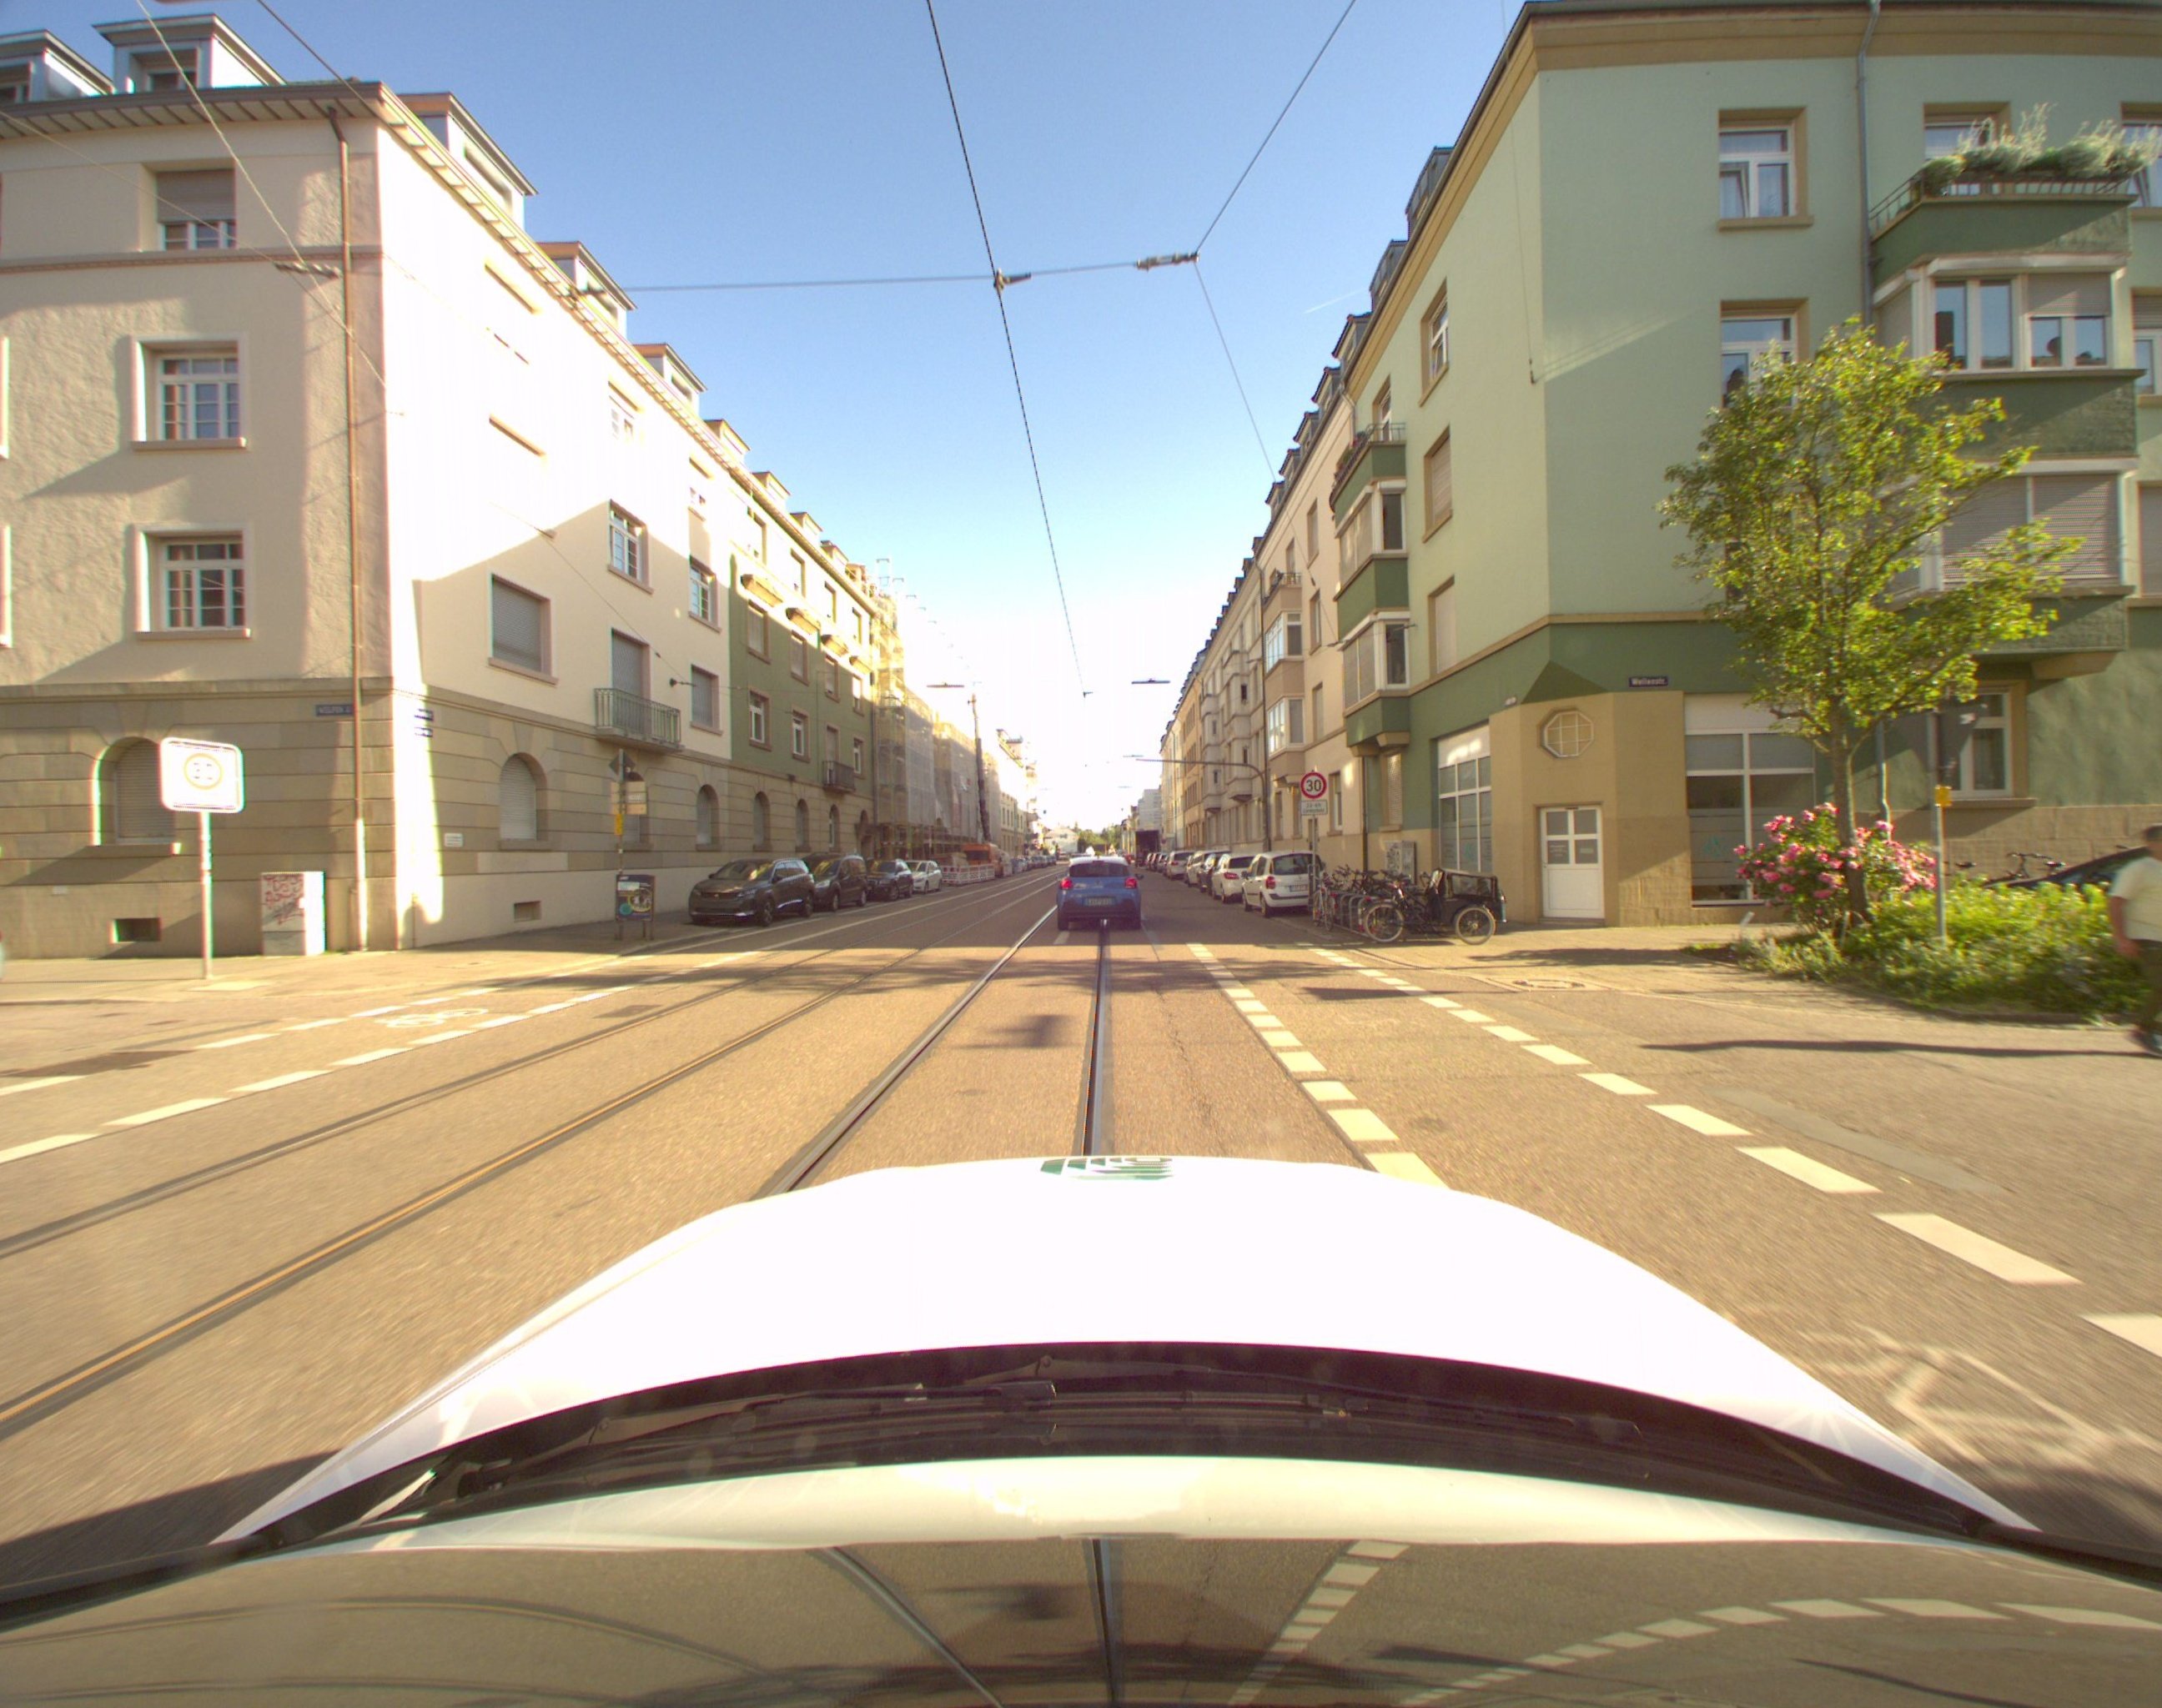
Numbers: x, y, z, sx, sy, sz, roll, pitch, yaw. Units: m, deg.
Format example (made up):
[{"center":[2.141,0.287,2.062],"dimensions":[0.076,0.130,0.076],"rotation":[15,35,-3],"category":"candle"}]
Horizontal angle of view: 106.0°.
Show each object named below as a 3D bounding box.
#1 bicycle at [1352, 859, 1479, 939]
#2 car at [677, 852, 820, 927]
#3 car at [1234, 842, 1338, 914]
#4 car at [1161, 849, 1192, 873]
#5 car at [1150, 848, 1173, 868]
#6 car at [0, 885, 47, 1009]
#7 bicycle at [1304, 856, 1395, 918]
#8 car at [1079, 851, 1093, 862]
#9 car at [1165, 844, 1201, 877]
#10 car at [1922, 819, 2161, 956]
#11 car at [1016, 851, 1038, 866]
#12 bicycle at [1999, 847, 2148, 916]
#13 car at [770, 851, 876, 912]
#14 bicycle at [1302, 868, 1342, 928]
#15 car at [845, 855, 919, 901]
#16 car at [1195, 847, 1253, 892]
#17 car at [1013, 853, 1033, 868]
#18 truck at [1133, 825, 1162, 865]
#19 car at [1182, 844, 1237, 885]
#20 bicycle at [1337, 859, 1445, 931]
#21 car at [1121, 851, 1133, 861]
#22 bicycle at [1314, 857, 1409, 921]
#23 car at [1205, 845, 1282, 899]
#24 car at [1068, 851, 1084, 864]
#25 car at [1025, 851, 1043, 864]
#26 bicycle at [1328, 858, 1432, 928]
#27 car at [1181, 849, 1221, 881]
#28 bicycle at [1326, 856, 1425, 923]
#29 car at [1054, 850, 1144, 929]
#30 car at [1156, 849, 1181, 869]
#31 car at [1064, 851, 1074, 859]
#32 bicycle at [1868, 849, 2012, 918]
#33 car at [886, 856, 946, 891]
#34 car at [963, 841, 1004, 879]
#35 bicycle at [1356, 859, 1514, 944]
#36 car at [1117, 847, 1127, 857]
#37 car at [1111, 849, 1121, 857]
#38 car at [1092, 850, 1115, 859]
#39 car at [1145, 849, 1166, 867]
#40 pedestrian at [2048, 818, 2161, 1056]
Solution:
[{"center":[5.593,0.749,13.662],"dimensions":[1.835,1.154,0.469],"rotation":[-5,0,2],"category":"bicycle"},{"center":[-8.444,0.816,21.179],"dimensions":[1.777,1.690,4.667],"rotation":[0,0,0],"category":"car"},{"center":[5.130,0.544,20.888],"dimensions":[1.776,1.632,4.002],"rotation":[-2,0,2],"category":"car"},{"center":[6.473,0.449,55.455],"dimensions":[1.715,1.486,4.224],"rotation":[-2,0,2],"category":"car"},{"center":[6.917,0.335,70.018],"dimensions":[1.657,1.647,4.224],"rotation":[-2,0,2],"category":"car"},{"center":[-15.137,1.199,9.346],"dimensions":[4.202,1.464,1.783],"rotation":[-2,2,1],"category":"car"},{"center":[5.715,0.688,17.375],"dimensions":[1.716,1.154,0.469],"rotation":[-5,0,2],"category":"bicycle"},{"center":[0.763,0.357,122.877],"dimensions":[1.894,1.631,4.269],"rotation":[-2,0,2],"category":"car"},{"center":[6.176,0.365,49.729],"dimensions":[1.724,1.827,4.689],"rotation":[-2,0,2],"category":"car"},{"center":[13.231,0.364,9.781],"dimensions":[1.644,1.579,4.043],"rotation":[-2,0,-25],"category":"car"},{"center":[-6.380,0.502,96.798],"dimensions":[2.136,1.621,4.001],"rotation":[-2,0,1],"category":"car"},{"center":[16.120,0.436,13.239],"dimensions":[1.889,1.063,0.455],"rotation":[-1,0,-1],"category":"bicycle"},{"center":[-8.275,0.810,26.593],"dimensions":[1.776,1.816,4.531],"rotation":[0,0,3],"category":"car"},{"center":[4.698,0.830,15.951],"dimensions":[0.351,1.044,1.730],"rotation":[-1,0,4],"category":"bicycle"},{"center":[-7.824,0.887,32.476],"dimensions":[1.777,1.627,4.608],"rotation":[0,0,0],"category":"car"},{"center":[5.525,0.552,31.894],"dimensions":[1.648,1.566,4.341],"rotation":[-2,0,2],"category":"car"},{"center":[-6.325,0.689,88.810],"dimensions":[1.707,1.594,4.269],"rotation":[-2,0,2],"category":"car"},{"center":[7.376,-0.979,91.745],"dimensions":[2.841,4.083,11.280],"rotation":[-2,0,3],"category":"truck"},{"center":[5.862,0.442,37.657],"dimensions":[1.651,1.752,4.599],"rotation":[-2,0,-2],"category":"car"},{"center":[5.654,0.745,14.899],"dimensions":[1.716,1.154,0.469],"rotation":[-5,0,2],"category":"bicycle"},{"center":[7.068,0.236,125.100],"dimensions":[1.758,1.486,4.034],"rotation":[-2,0,2],"category":"car"},{"center":[5.759,0.711,16.747],"dimensions":[1.716,1.154,0.469],"rotation":[-5,0,2],"category":"bicycle"},{"center":[5.221,0.529,26.611],"dimensions":[1.776,1.576,4.329],"rotation":[-2,0,2],"category":"car"},{"center":[-0.604,0.456,104.105],"dimensions":[1.819,1.631,4.493],"rotation":[-2,0,2],"category":"car"},{"center":[-5.880,0.420,102.647],"dimensions":[1.819,1.631,4.851],"rotation":[-2,0,2],"category":"car"},{"center":[5.656,0.728,15.447],"dimensions":[1.716,1.154,0.469],"rotation":[-5,0,2],"category":"bicycle"},{"center":[6.139,0.529,42.031],"dimensions":[1.608,1.560,3.602],"rotation":[-2,0,2],"category":"car"},{"center":[5.819,0.698,16.123],"dimensions":[1.716,1.154,0.469],"rotation":[-5,0,2],"category":"bicycle"},{"center":[0.421,0.671,17.771],"dimensions":[1.728,1.507,3.995],"rotation":[0,0,2],"category":"car"},{"center":[6.979,0.371,65.169],"dimensions":[1.657,1.519,4.224],"rotation":[-2,0,2],"category":"car"},{"center":[-2.708,0.200,177.590],"dimensions":[1.894,1.631,4.269],"rotation":[-2,0,2],"category":"car"},{"center":[13.972,0.470,13.264],"dimensions":[1.889,1.063,0.455],"rotation":[-1,0,-1],"category":"bicycle"},{"center":[-7.719,0.897,38.500],"dimensions":[1.711,1.502,4.392],"rotation":[0,0,3],"category":"car"},{"center":[-6.632,0.356,55.807],"dimensions":[2.137,2.475,4.979],"rotation":[-1,0,0],"category":"car"},{"center":[5.588,0.734,12.966],"dimensions":[2.078,1.154,0.849],"rotation":[-4,0,2],"category":"bicycle"},{"center":[9.266,-0.469,184.218],"dimensions":[2.211,2.284,4.086],"rotation":[-2,0,2],"category":"car"},{"center":[7.364,-0.192,172.251],"dimensions":[2.172,1.486,4.162],"rotation":[-1,0,2],"category":"car"},{"center":[4.084,0.176,146.554],"dimensions":[4.008,1.486,1.759],"rotation":[-2,0,-2],"category":"car"},{"center":[6.934,0.355,76.043],"dimensions":[1.657,1.633,3.873],"rotation":[-2,0,2],"category":"car"},{"center":[7.808,0.578,5.913],"dimensions":[0.727,1.633,0.703],"rotation":[1,-1,1],"category":"pedestrian"}]
